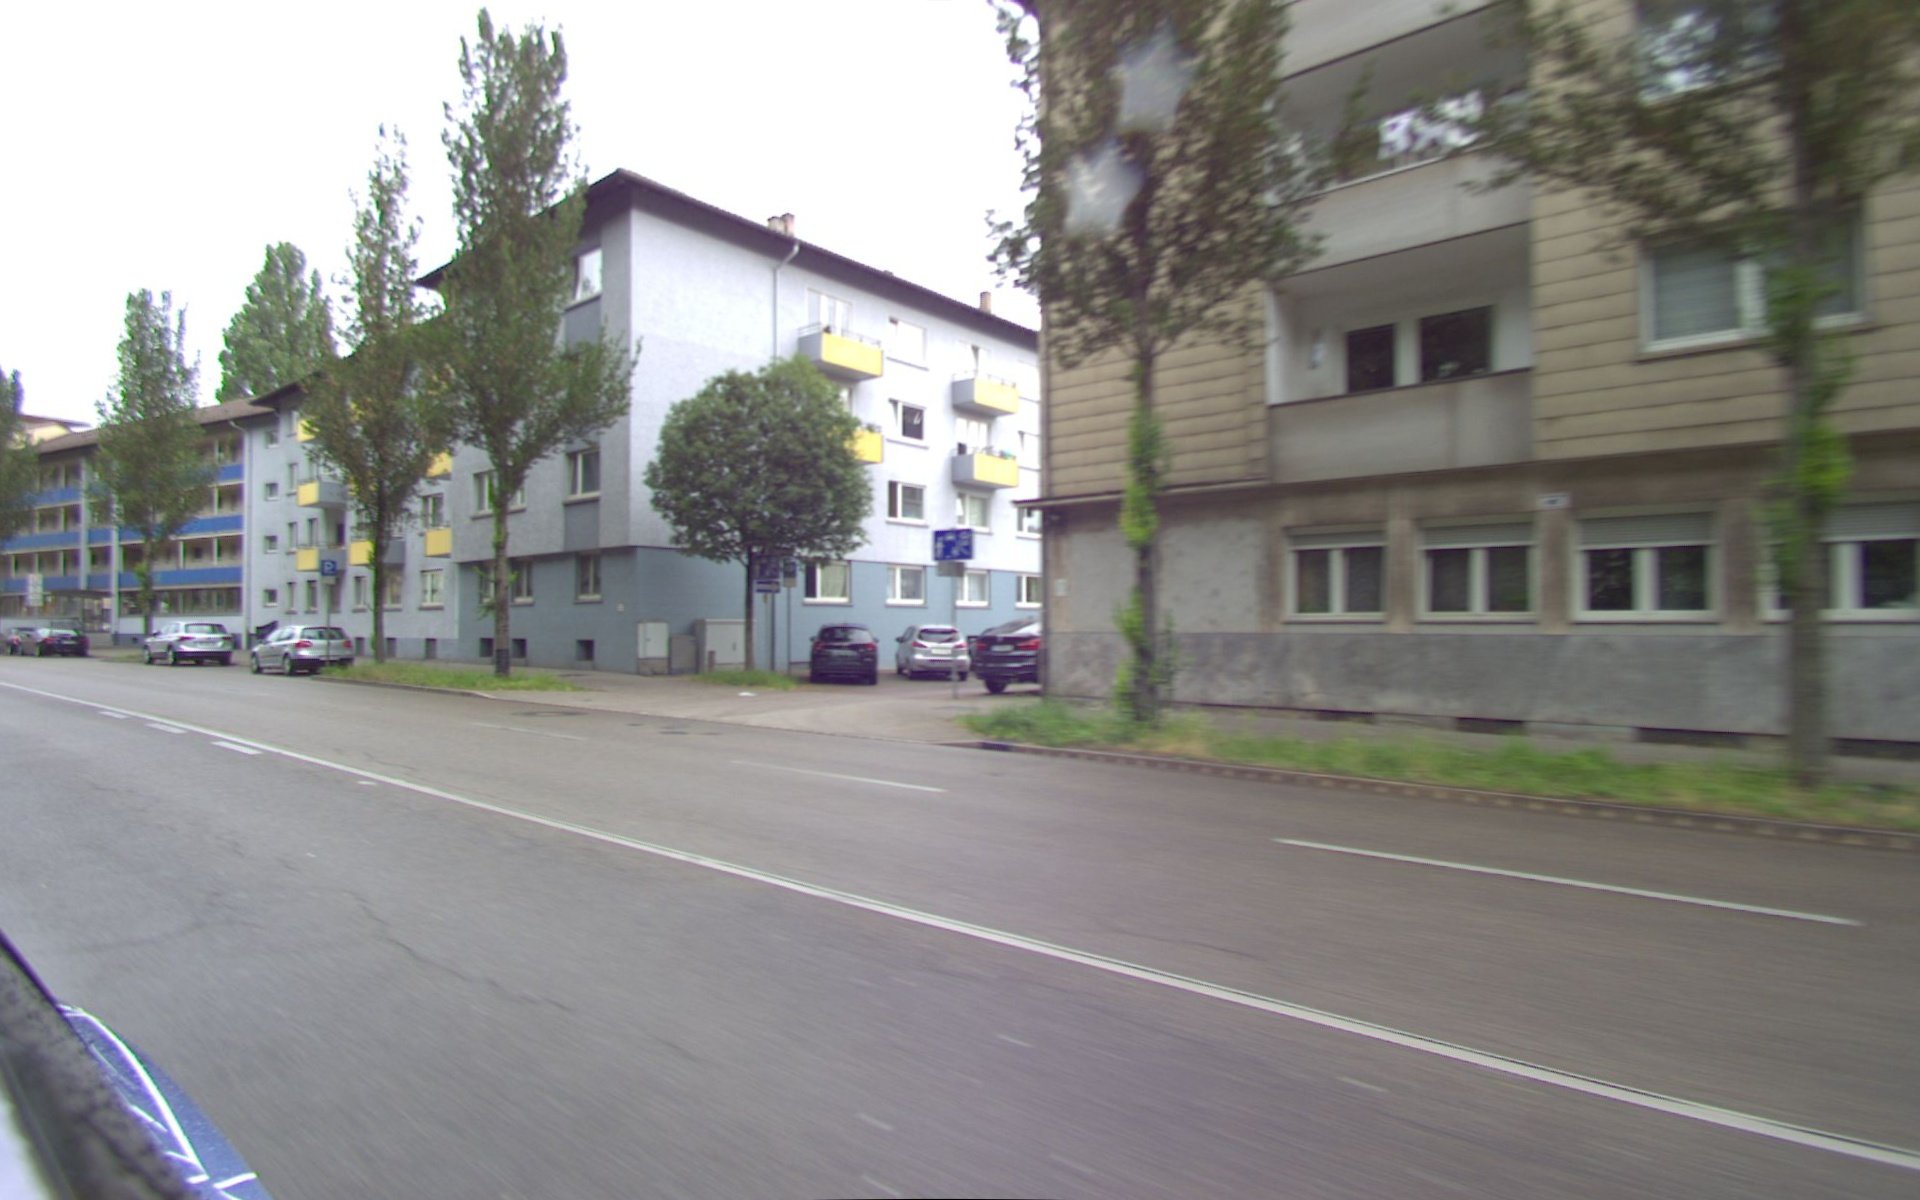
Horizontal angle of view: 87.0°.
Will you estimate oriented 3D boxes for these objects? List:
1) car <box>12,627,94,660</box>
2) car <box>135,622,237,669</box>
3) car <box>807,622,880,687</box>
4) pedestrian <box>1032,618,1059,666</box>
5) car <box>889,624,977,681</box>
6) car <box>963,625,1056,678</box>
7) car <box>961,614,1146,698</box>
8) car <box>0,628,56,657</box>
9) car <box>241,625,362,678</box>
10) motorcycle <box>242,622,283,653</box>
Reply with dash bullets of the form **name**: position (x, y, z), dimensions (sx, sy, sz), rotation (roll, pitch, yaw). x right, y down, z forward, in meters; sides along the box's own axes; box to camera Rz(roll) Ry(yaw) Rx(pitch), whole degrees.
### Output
- **car**: position (-43.250, 2.060, 48.216), dimensions (4.881, 1.450, 1.805), rotation (-1, -3, 35)
- **car**: position (-28.628, 1.650, 37.387), dimensions (4.524, 1.616, 1.748), rotation (-1, -3, 36)
- **car**: position (-2.984, 1.341, 25.986), dimensions (1.687, 1.505, 4.005), rotation (2, -2, -6)
- **pedestrian**: position (3.296, 1.606, 39.030), dimensions (0.748, 1.830, 0.754), rotation (-1, -2, 42)
- **car**: position (-0.840, 1.447, 28.744), dimensions (1.764, 1.505, 4.009), rotation (1, -2, -12)
- **car**: position (1.434, 1.507, 30.939), dimensions (1.844, 1.505, 4.009), rotation (0, -1, -12)
- **car**: position (2.069, 1.138, 21.522), dimensions (1.925, 1.591, 4.107), rotation (-2, -3, 40)
- **car**: position (-47.855, 2.180, 51.516), dimensions (4.078, 1.414, 1.764), rotation (-1, -4, 34)
- **car**: position (-19.930, 1.513, 30.582), dimensions (4.198, 1.464, 1.708), rotation (-1, -2, 37)
- **motorcycle**: position (-34.024, 1.825, 49.355), dimensions (2.226, 1.424, 0.671), rotation (-1, 1, 28)
